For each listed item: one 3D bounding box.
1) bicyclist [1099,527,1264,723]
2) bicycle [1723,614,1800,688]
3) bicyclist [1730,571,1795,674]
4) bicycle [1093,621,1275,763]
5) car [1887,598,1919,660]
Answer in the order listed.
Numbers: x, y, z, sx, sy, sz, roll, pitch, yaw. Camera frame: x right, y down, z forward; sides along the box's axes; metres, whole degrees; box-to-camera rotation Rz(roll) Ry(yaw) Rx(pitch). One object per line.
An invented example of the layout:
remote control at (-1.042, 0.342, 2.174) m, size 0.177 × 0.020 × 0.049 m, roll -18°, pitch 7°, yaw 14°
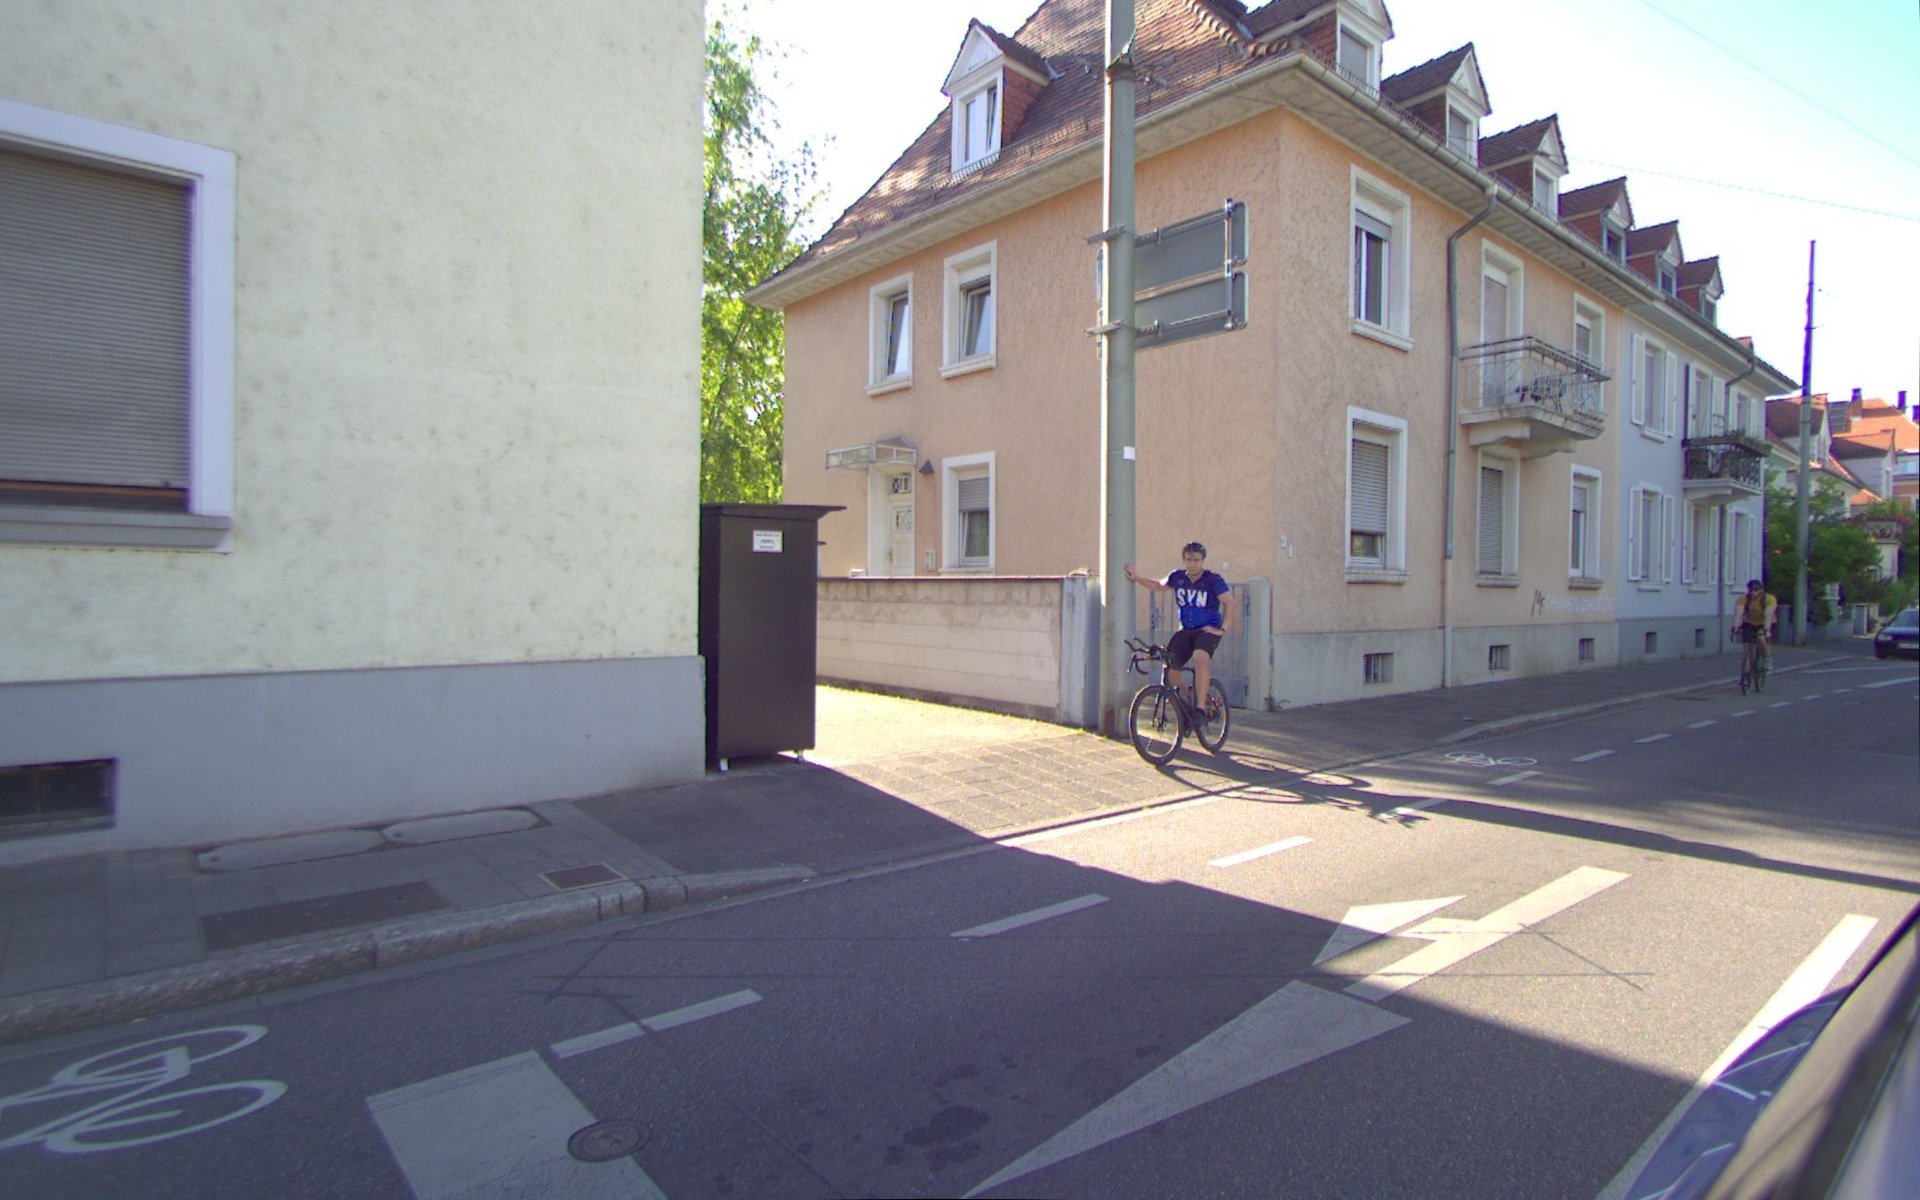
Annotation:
bicyclist at (2.023, 0.189, 9.289) m, size 0.870 × 1.627 × 1.052 m, roll 1°, pitch 5°, yaw -41°
bicycle at (13.305, 0.816, 16.781) m, size 1.774 × 1.118 × 0.685 m, roll -1°, pitch 0°, yaw -41°
bicyclist at (13.291, 0.356, 16.761) m, size 0.841 × 1.641 × 0.685 m, roll 0°, pitch 0°, yaw -41°
bicycle at (2.038, 0.772, 9.073) m, size 1.744 × 1.081 × 0.592 m, roll 0°, pitch 5°, yaw -41°
car at (26.703, 0.750, 27.366) m, size 3.742 × 1.601 × 1.696 m, roll 0°, pitch -1°, yaw -36°
